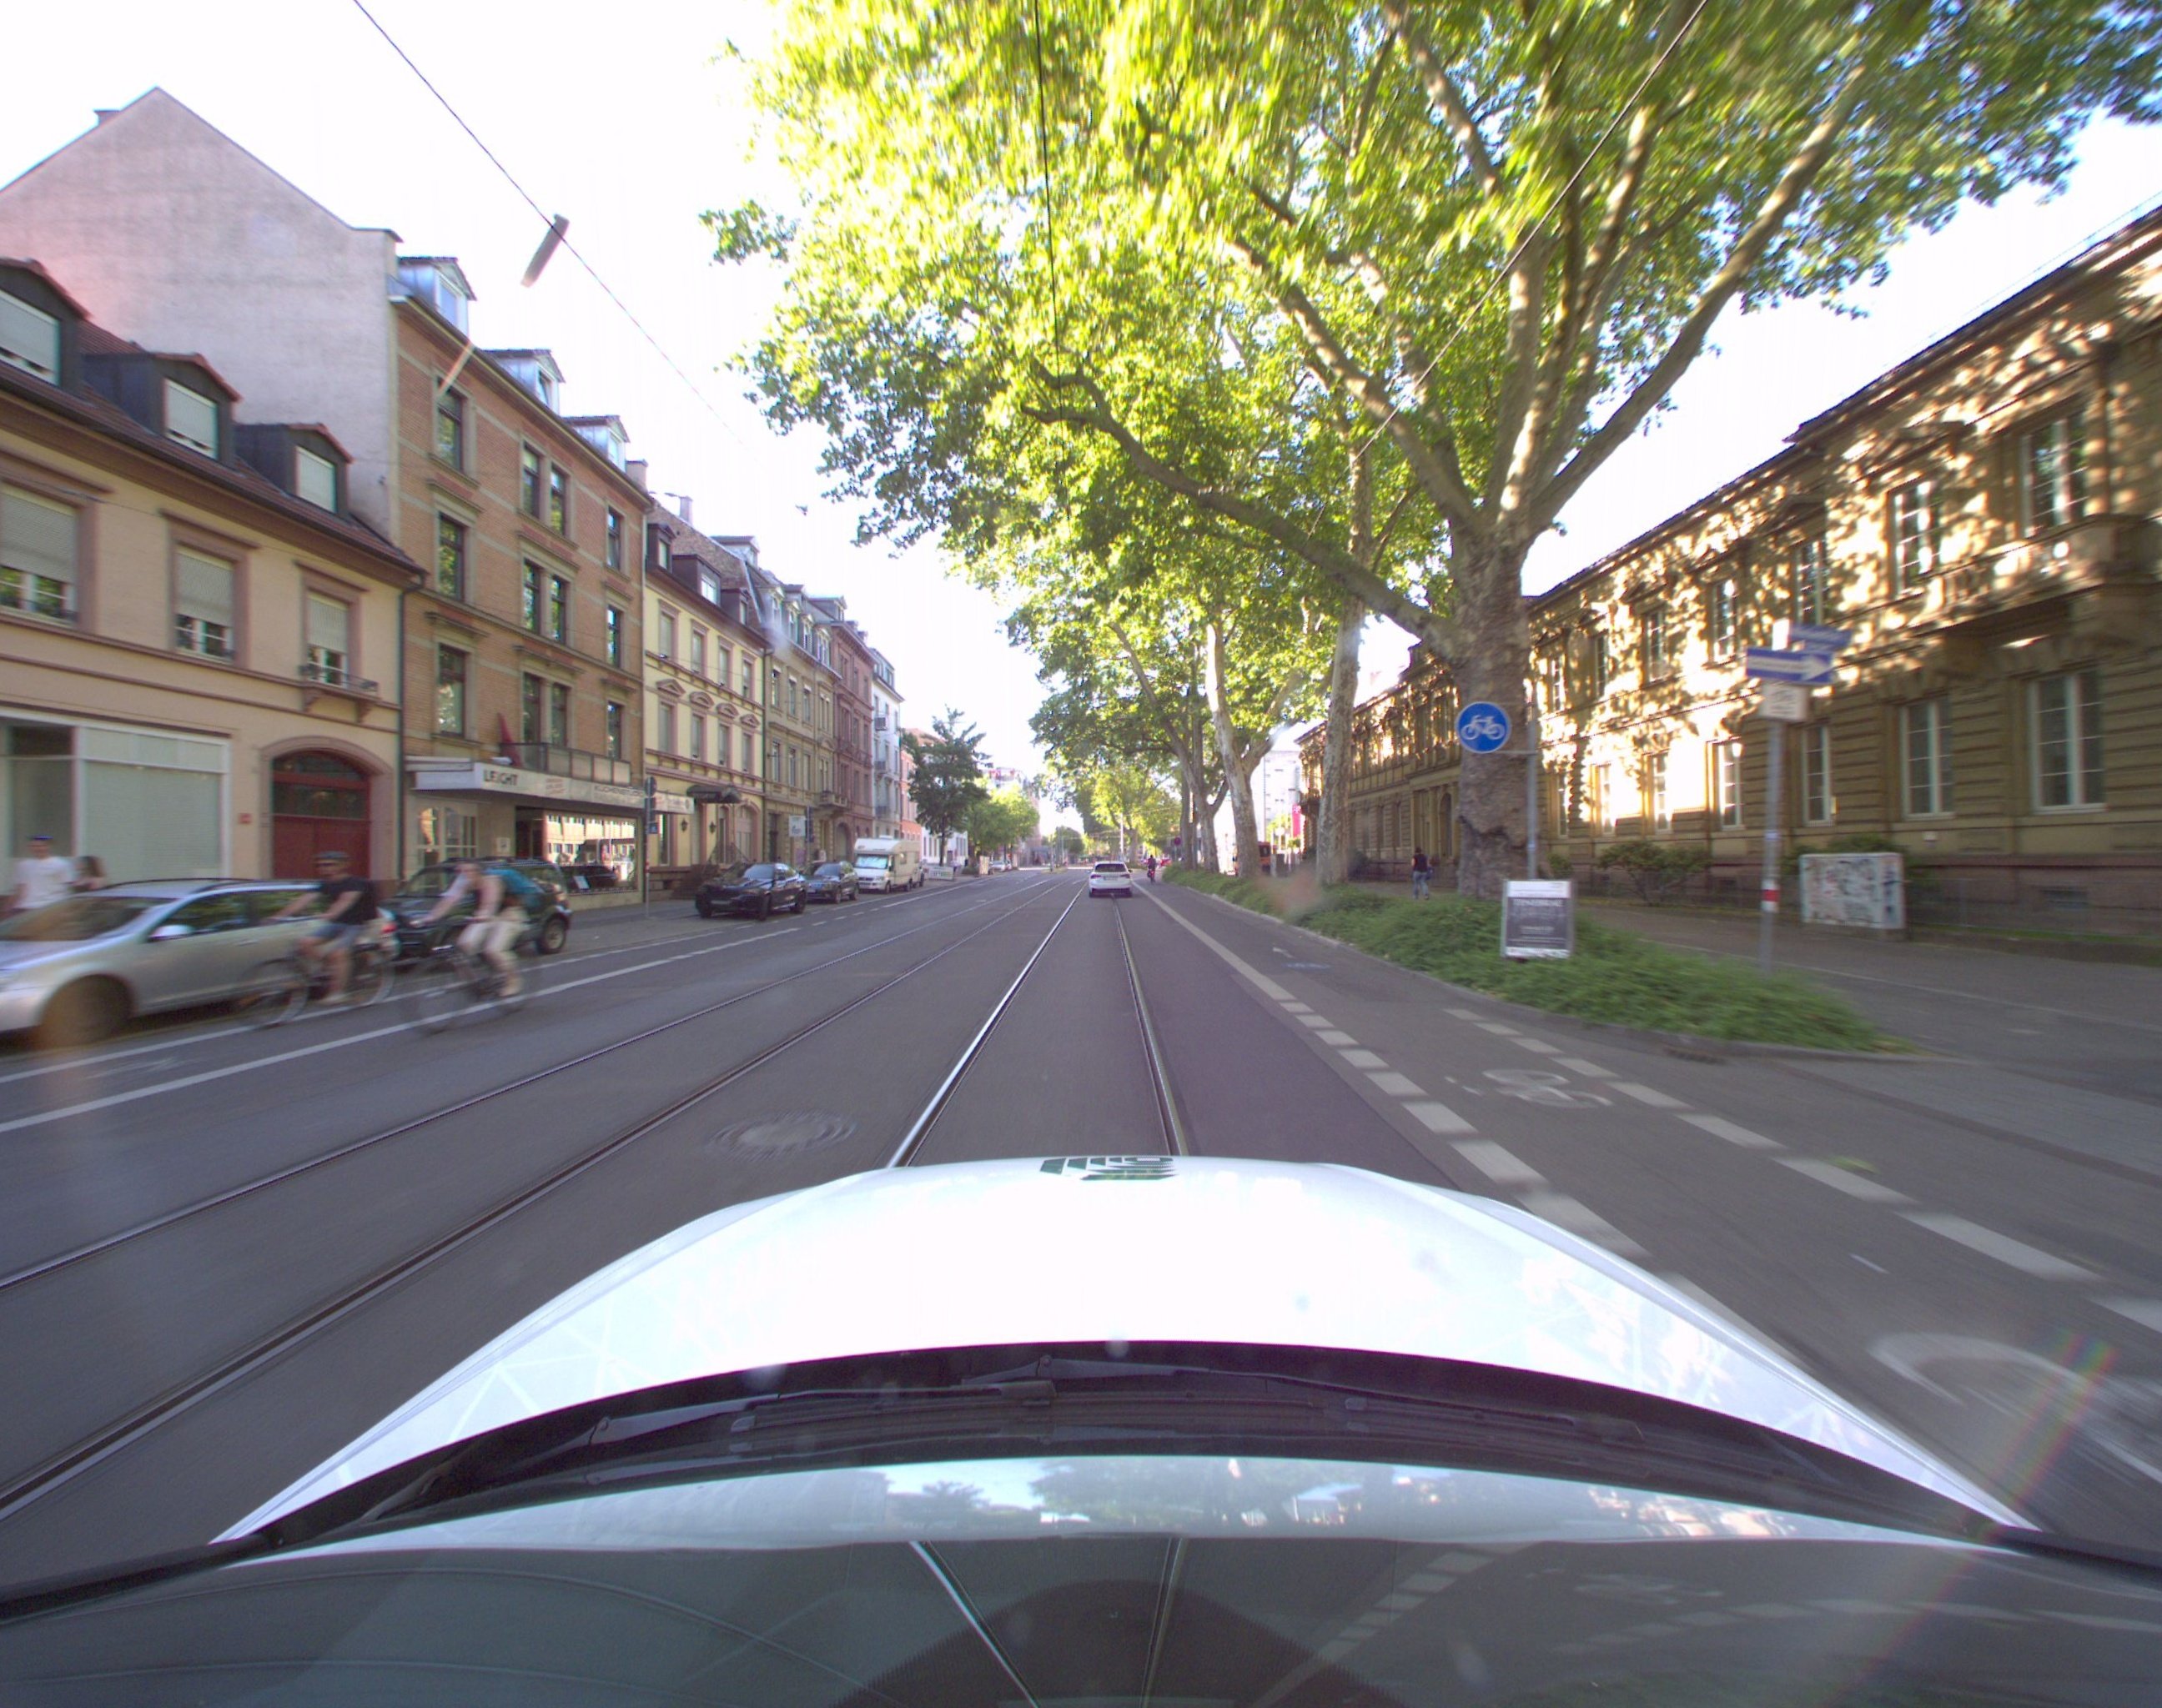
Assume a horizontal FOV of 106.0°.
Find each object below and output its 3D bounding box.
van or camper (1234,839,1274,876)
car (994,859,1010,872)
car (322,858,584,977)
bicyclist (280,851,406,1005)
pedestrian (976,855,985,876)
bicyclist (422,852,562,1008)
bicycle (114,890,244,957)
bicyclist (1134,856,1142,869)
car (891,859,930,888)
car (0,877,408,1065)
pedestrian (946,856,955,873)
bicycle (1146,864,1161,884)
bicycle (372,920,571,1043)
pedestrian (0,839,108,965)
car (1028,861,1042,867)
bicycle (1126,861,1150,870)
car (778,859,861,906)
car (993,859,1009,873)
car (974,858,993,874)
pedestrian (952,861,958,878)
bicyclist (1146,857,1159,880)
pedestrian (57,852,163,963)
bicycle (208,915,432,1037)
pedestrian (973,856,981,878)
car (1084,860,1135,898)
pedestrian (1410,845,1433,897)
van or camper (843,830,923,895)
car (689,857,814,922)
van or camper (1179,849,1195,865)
[{"bbox_3d":[12.276,0.268,58.079,2.019,2.464,5.111,0,-1,3],"label":"van or camper"},{"bbox_3d":[-10.772,1.523,111.389,1.789,1.726,3.782,0,0,-1],"label":"car"},{"bbox_3d":[-10.301,0.941,13.754,1.551,1.732,3.684,0,0,0],"label":"car"},{"bbox_3d":[-8.363,0.805,9.263,0.533,1.634,0.897,-3,-1,2],"label":"bicyclist"},{"bbox_3d":[-9.489,1.070,76.745,0.643,2.002,0.750,0,-1,5],"label":"pedestrian"},{"bbox_3d":[-6.118,0.750,8.520,0.636,1.503,1.070,-2,-1,1],"label":"bicyclist"},{"bbox_3d":[-15.476,1.155,14.031,0.297,1.014,1.723,-1,0,1],"label":"bicycle"},{"bbox_3d":[6.772,1.030,96.724,0.731,1.589,0.589,-1,-1,12],"label":"bicyclist"},{"bbox_3d":[-10.428,1.179,49.935,1.636,1.726,3.782,0,0,-1],"label":"car"},{"bbox_3d":[-10.194,1.062,8.990,1.821,1.503,4.448,0,0,0],"label":"car"},{"bbox_3d":[-15.110,1.199,94.447,0.740,2.002,0.652,0,-1,39],"label":"pedestrian"},{"bbox_3d":[4.323,1.201,48.981,0.677,1.155,2.964,0,-1,1],"label":"bicycle"},{"bbox_3d":[-6.122,1.231,8.334,0.497,0.943,1.922,-3,0,2],"label":"bicycle"},{"bbox_3d":[-13.875,0.627,10.934,0.773,1.634,0.654,1,-1,-16],"label":"pedestrian"},{"bbox_3d":[-12.748,2.750,226.637,3.774,1.818,1.807,0,-1,6],"label":"car"},{"bbox_3d":[6.800,1.370,96.723,2.749,0.999,0.595,0,-1,15],"label":"bicycle"},{"bbox_3d":[-10.489,1.091,33.043,1.958,1.781,4.468,0,0,-1],"label":"car"},{"bbox_3d":[-10.454,1.549,106.672,1.789,1.726,3.782,0,0,-1],"label":"car"},{"bbox_3d":[-10.553,1.253,88.670,1.636,1.726,3.782,0,0,-1],"label":"car"},{"bbox_3d":[-13.050,1.616,84.439,0.599,1.773,0.700,1,-1,-4],"label":"pedestrian"},{"bbox_3d":[4.301,0.875,49.024,0.676,1.339,0.525,0,-1,0],"label":"bicyclist"},{"bbox_3d":[-13.205,0.705,11.093,0.636,1.460,0.653,1,-1,-16],"label":"pedestrian"},{"bbox_3d":[-8.363,1.283,9.095,0.483,1.047,2.040,-3,0,2],"label":"bicycle"},{"bbox_3d":[-9.666,1.187,75.721,0.598,2.002,0.750,0,-1,5],"label":"pedestrian"},{"bbox_3d":[1.109,0.987,33.310,1.837,1.480,3.835,0,-1,-2],"label":"car"},{"bbox_3d":[10.906,0.537,26.103,0.642,1.633,0.876,0,-1,20],"label":"pedestrian"},{"bbox_3d":[-10.359,0.429,43.343,2.208,3.140,7.117,0,0,2],"label":"van or camper"},{"bbox_3d":[-10.218,1.036,25.713,1.959,1.781,4.935,2,0,-1],"label":"car"},{"bbox_3d":[16.138,0.462,123.745,1.986,2.343,4.001,0,-1,1],"label":"van or camper"}]
